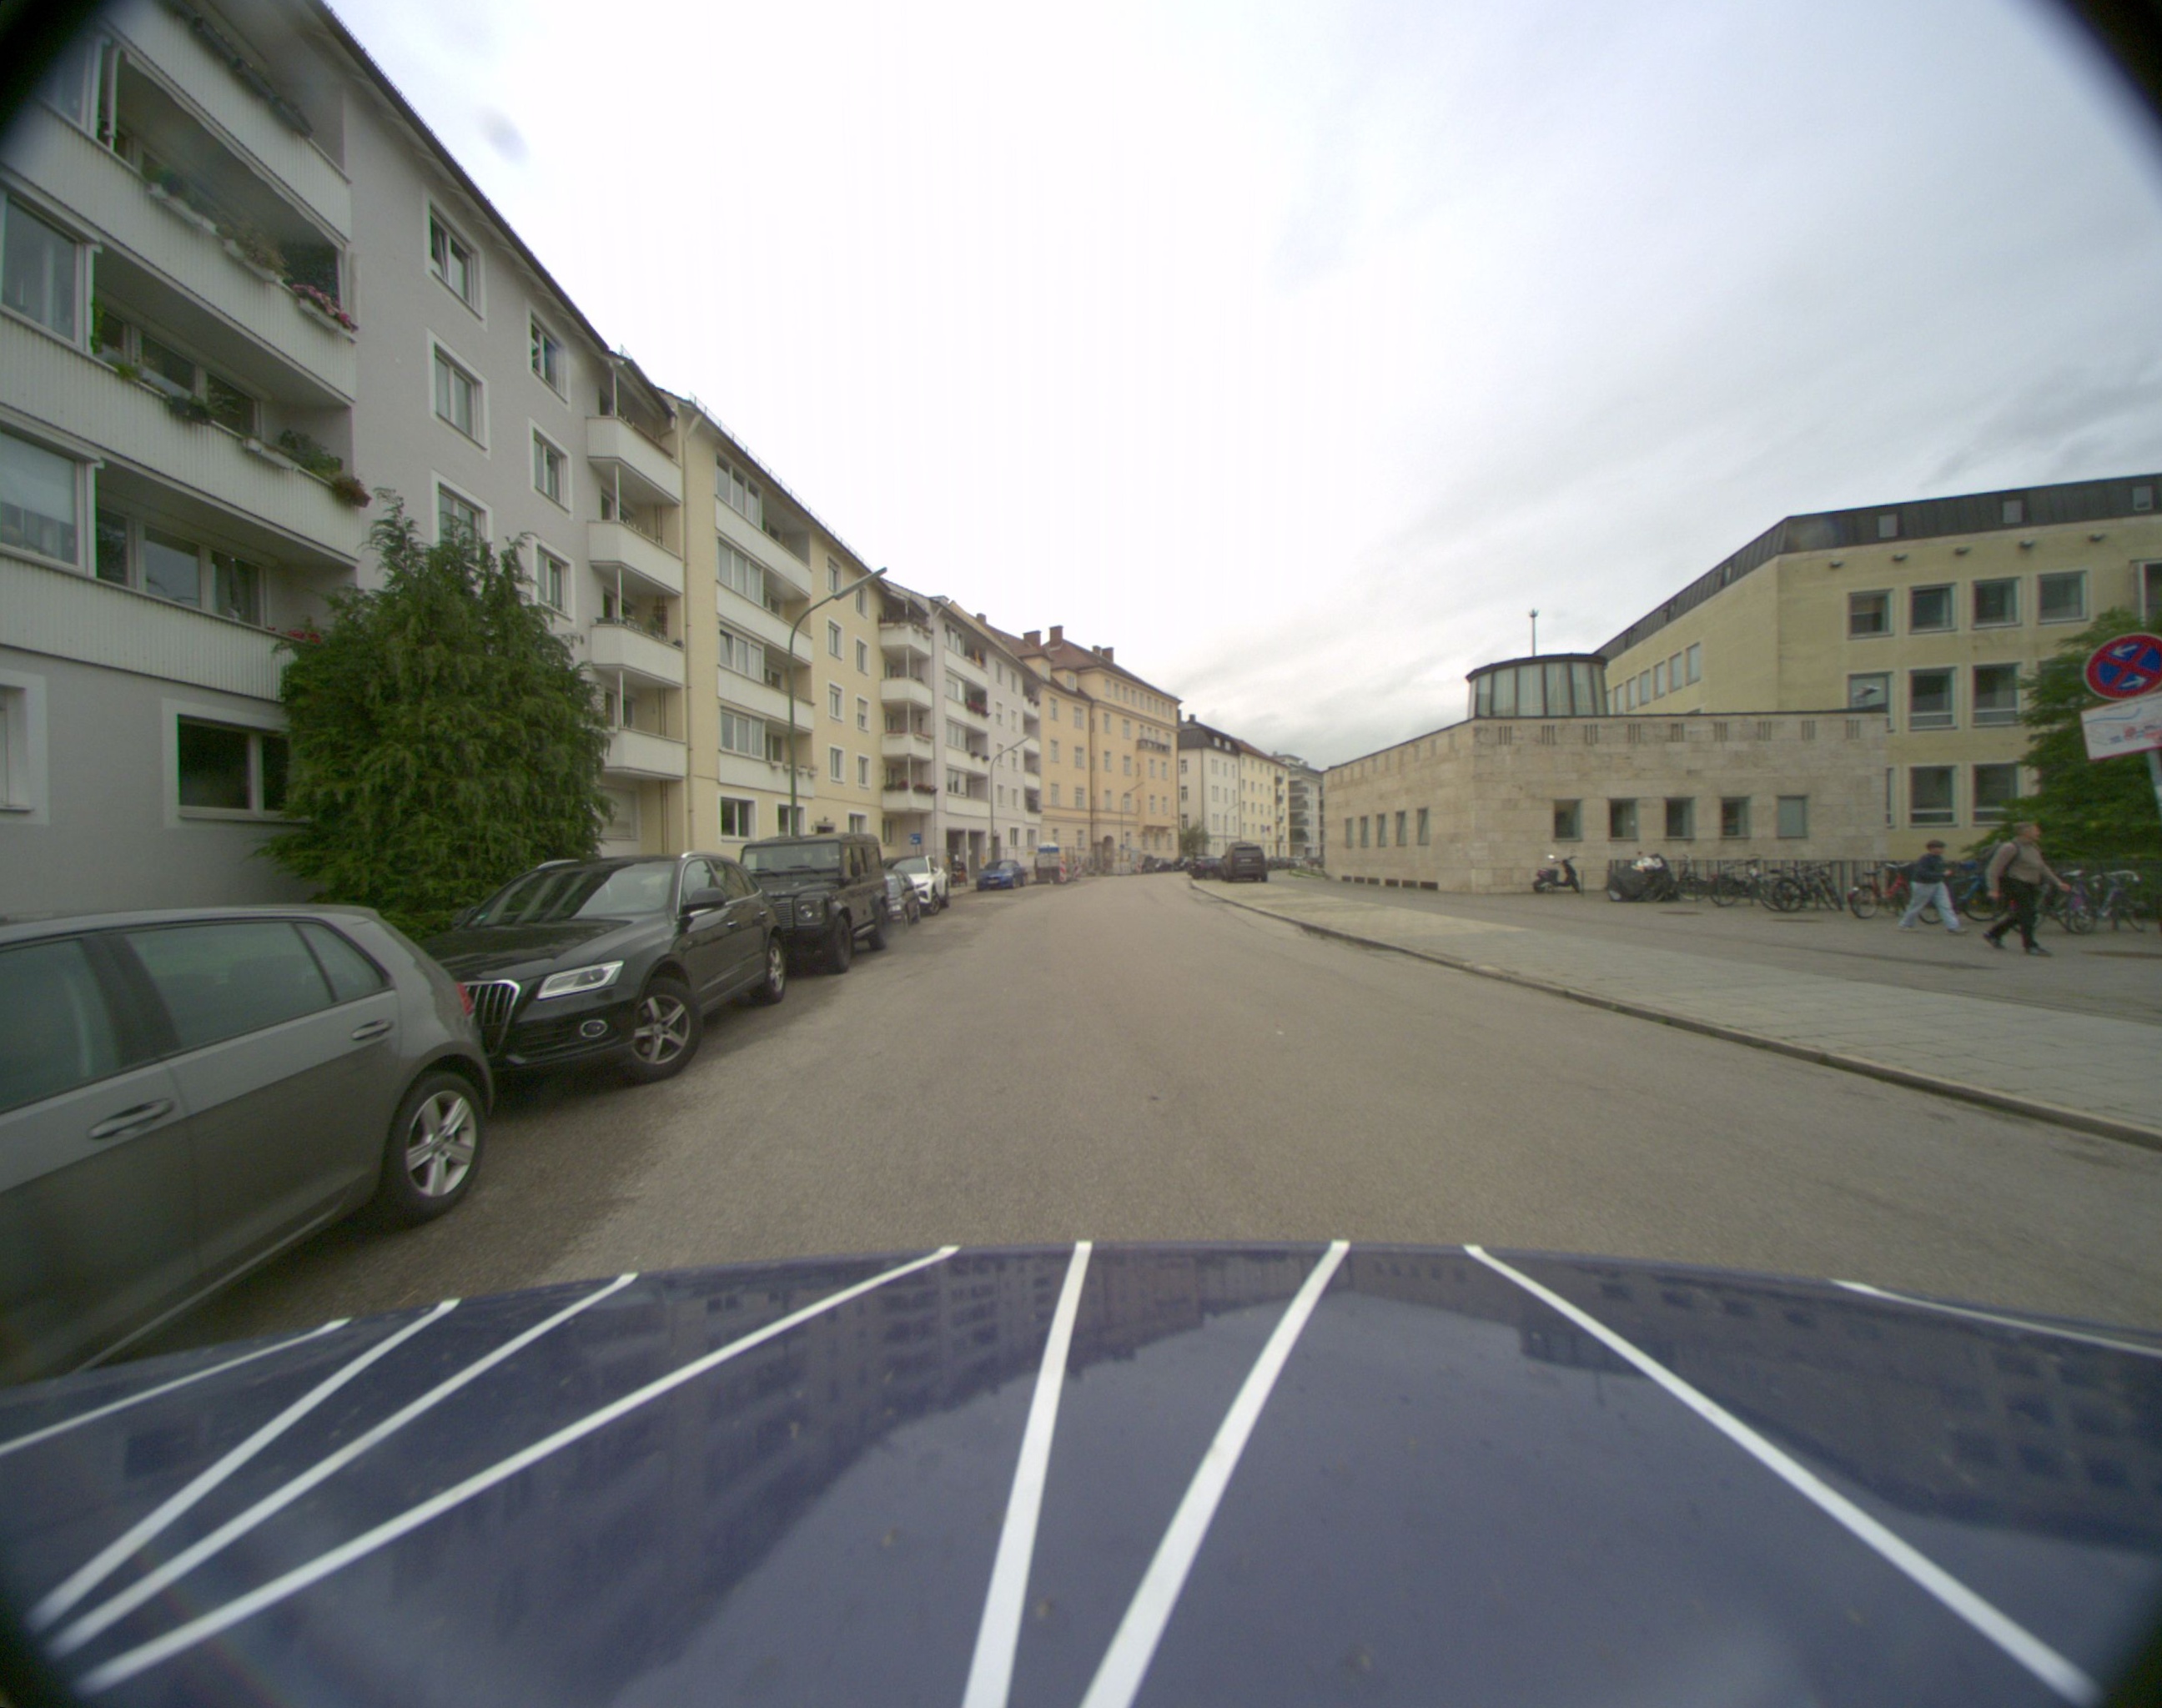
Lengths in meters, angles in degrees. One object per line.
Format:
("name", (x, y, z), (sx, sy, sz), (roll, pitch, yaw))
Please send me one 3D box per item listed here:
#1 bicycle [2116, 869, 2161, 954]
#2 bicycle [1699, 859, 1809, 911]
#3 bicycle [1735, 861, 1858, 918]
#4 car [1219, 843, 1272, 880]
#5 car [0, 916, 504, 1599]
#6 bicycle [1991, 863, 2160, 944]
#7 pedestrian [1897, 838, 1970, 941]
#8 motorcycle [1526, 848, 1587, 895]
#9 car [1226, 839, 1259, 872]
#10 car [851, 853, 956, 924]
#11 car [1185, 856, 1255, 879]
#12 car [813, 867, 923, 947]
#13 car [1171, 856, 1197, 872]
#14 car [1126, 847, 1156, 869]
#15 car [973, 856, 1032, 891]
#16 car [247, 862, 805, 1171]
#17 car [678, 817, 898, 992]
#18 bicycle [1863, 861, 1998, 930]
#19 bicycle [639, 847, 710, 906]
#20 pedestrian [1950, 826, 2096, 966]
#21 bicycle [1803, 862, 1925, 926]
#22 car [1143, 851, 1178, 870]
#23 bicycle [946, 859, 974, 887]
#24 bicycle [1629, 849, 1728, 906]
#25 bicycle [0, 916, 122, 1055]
("bicycle", (15.437, 0.739, 10.362), (2.052, 1.104, 0.616), (-3, 0, -7))
("bicycle", (15.955, 0.720, 18.035), (2.051, 1.104, 0.617), (-3, 0, -1))
("bicycle", (15.453, 0.761, 16.437), (2.051, 1.104, 0.617), (-3, 0, 0))
("car", (8.339, 0.390, 38.928), (1.998, 1.761, 4.816), (-1, 0, 4))
("car", (-3.375, 1.061, 1.548), (1.760, 1.388, 4.040), (-3, 1, -10))
("bicycle", (15.455, 0.750, 11.822), (2.052, 1.104, 0.616), (-3, 0, -7))
("pedestrian", (13.804, 0.566, 12.305), (0.645, 1.592, 0.605), (-3, 0, -29))
("motorcycle", (15.061, 0.561, 24.088), (1.568, 1.397, 0.515), (-3, 0, -2))
("car", (13.525, 0.108, 63.454), (2.146, 2.559, 6.219), (0, 0, 17))
("car", (-4.741, 0.878, 21.019), (2.032, 1.668, 4.611), (-3, -1, -4))
("car", (8.790, 0.846, 48.006), (4.012, 1.365, 1.746), (1, 1, -22))
("car", (-4.446, 1.042, 16.385), (1.663, 1.341, 3.801), (-3, 1, -7))
("car", (10.625, 1.042, 78.114), (1.508, 1.547, 2.868), (-3, 0, 32))
("car", (5.419, 0.367, 67.945), (1.839, 1.788, 4.243), (-3, -1, 15))
("car", (-3.702, 0.882, 36.791), (1.834, 1.433, 4.631), (-5, -1, 5))
("car", (-3.879, 0.917, 6.483), (1.663, 1.556, 4.512), (-3, 1, -5))
("car", (-4.130, 0.647, 11.593), (1.752, 2.069, 4.514), (-3, 0, -4))
("bicycle", (15.228, 0.725, 13.631), (2.052, 1.104, 0.616), (-3, 0, -11))
("bicycle", (-10.164, 0.536, 19.091), (0.745, 1.359, 2.469), (2, 0, -9))
("pedestrian", (12.825, 0.536, 10.368), (0.789, 1.772, 1.013), (-3, 2, -15))
("bicycle", (15.317, 0.764, 14.873), (2.052, 1.104, 0.616), (-3, 0, -11))
("car", (7.653, 0.623, 73.024), (1.838, 1.719, 3.737), (-3, -1, 30))
("bicycle", (-6.085, 0.959, 38.439), (0.811, 1.315, 2.776), (0, 1, 4))
("bicycle", (15.387, 0.595, 19.598), (2.104, 1.344, 0.613), (-3, 0, -5))
("bicycle", (-9.353, 1.144, 6.287), (0.468, 1.111, 1.943), (0, 0, -4))
